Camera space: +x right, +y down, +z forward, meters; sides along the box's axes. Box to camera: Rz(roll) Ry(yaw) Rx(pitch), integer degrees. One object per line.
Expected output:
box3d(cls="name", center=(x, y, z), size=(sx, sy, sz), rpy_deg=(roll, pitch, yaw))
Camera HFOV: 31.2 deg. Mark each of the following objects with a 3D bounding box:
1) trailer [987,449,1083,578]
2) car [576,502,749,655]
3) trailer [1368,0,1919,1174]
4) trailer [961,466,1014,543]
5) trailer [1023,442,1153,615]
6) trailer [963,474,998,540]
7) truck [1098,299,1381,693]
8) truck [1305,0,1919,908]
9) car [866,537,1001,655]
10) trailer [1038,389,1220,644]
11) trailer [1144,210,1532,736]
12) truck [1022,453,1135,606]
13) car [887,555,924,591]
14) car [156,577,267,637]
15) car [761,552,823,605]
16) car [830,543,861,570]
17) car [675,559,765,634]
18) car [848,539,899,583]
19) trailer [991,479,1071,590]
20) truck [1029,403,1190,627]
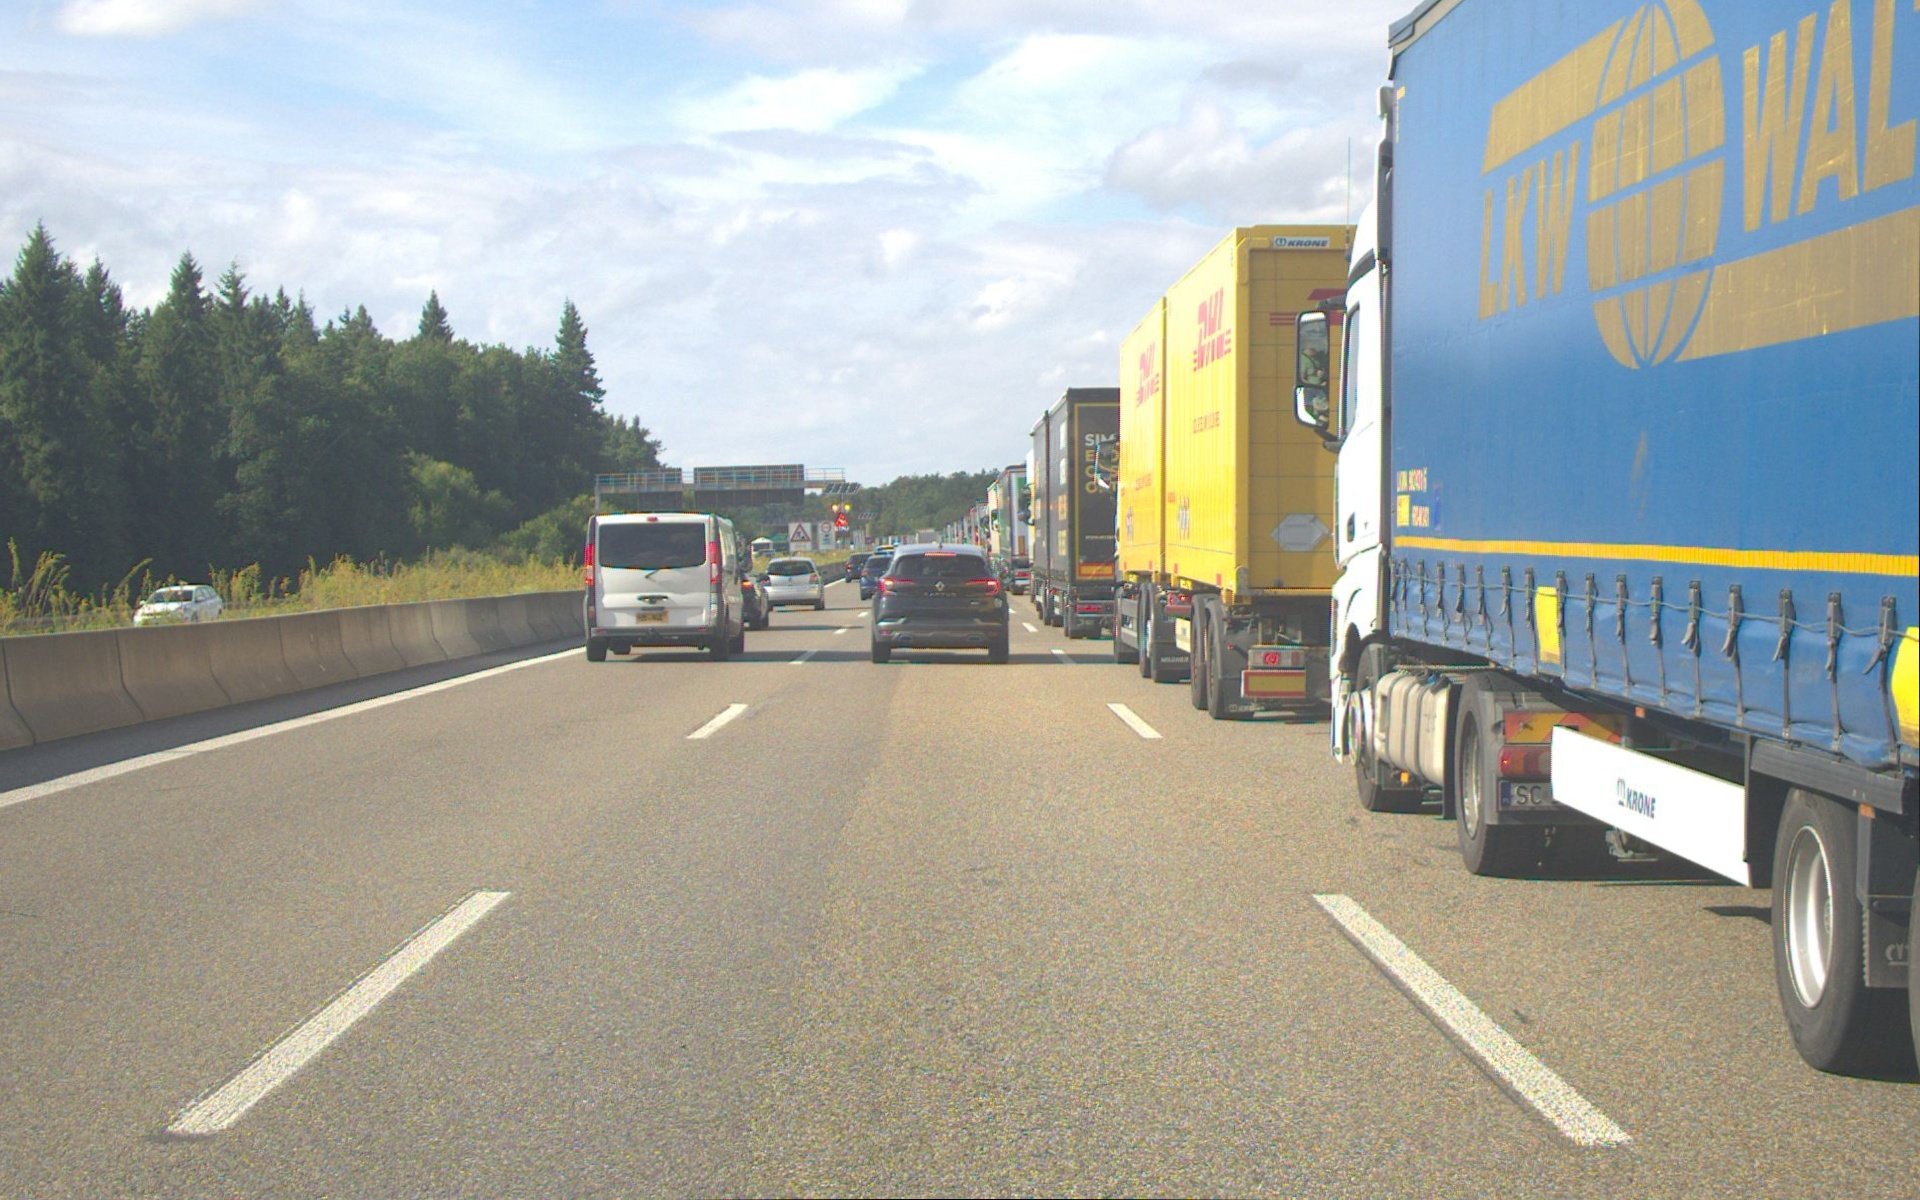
box3d(cls="trailer", center=(2.352, -2.716, 111.977), size=(2.661, 3.855, 13.395), rpy_deg=(-2, 1, 0))
box3d(cls="car", center=(-4.038, -0.312, 47.392), size=(1.933, 1.972, 5.099), rpy_deg=(1, 1, 0))
box3d(cls="trailer", center=(3.565, -0.706, 10.865), size=(2.642, 4.084, 13.981), rpy_deg=(1, 1, -1))
box3d(cls="trailer", center=(1.644, -5.536, 201.943), size=(2.802, 4.229, 11.057), rpy_deg=(-3, 1, 1))
box3d(cls="trailer", center=(3.077, -1.717, 85.994), size=(2.792, 3.925, 13.070), rpy_deg=(-1, 1, 1))
box3d(cls="trailer", center=(1.411, -6.254, 232.892), size=(2.150, 4.244, 8.440), rpy_deg=(-2, 1, 0))
box3d(cls="truck", center=(3.090, -1.160, 40.449), size=(2.412, 4.054, 9.665), rpy_deg=(1, 1, 0))
box3d(cls="truck", center=(3.475, -0.801, 17.471), size=(2.648, 4.075, 6.492), rpy_deg=(1, 1, -1))
box3d(cls="car", center=(-0.342, -0.076, 45.632), size=(1.696, 1.478, 4.160), rpy_deg=(1, 1, 0))
box3d(cls="trailer", center=(2.731, -1.396, 57.911), size=(2.716, 3.947, 8.711), rpy_deg=(1, 1, 1))
box3d(cls="trailer", center=(3.176, -1.060, 31.151), size=(2.412, 4.054, 8.927), rpy_deg=(1, 1, 0))
box3d(cls="truck", center=(3.132, -1.861, 92.260), size=(2.802, 3.925, 5.826), rpy_deg=(-1, 1, 1))
box3d(cls="car", center=(-2.116, -1.053, 133.972), size=(1.361, 1.391, 3.085), rpy_deg=(1, 1, 0))
box3d(cls="car", center=(-23.452, 0.208, 107.846), size=(1.994, 1.793, 4.976), rpy_deg=(1, 1, 5))
box3d(cls="car", center=(-4.519, -0.580, 92.738), size=(1.500, 1.391, 3.476), rpy_deg=(1, 1, 0))
box3d(cls="car", center=(-5.778, -2.202, 173.592), size=(1.434, 1.305, 3.533), rpy_deg=(1, 1, -1))
box3d(cls="car", center=(-4.617, -0.090, 66.504), size=(1.500, 1.391, 3.476), rpy_deg=(1, 1, 0))
box3d(cls="car", center=(-2.788, -1.252, 111.523), size=(1.581, 1.391, 3.208), rpy_deg=(1, 1, 0))
box3d(cls="trailer", center=(2.751, -2.605, 137.444), size=(2.703, 4.068, 12.945), rpy_deg=(-3, 1, 0))
box3d(cls="truck", center=(2.806, -1.594, 67.362), size=(2.741, 4.024, 10.203), rpy_deg=(1, 1, 0))
